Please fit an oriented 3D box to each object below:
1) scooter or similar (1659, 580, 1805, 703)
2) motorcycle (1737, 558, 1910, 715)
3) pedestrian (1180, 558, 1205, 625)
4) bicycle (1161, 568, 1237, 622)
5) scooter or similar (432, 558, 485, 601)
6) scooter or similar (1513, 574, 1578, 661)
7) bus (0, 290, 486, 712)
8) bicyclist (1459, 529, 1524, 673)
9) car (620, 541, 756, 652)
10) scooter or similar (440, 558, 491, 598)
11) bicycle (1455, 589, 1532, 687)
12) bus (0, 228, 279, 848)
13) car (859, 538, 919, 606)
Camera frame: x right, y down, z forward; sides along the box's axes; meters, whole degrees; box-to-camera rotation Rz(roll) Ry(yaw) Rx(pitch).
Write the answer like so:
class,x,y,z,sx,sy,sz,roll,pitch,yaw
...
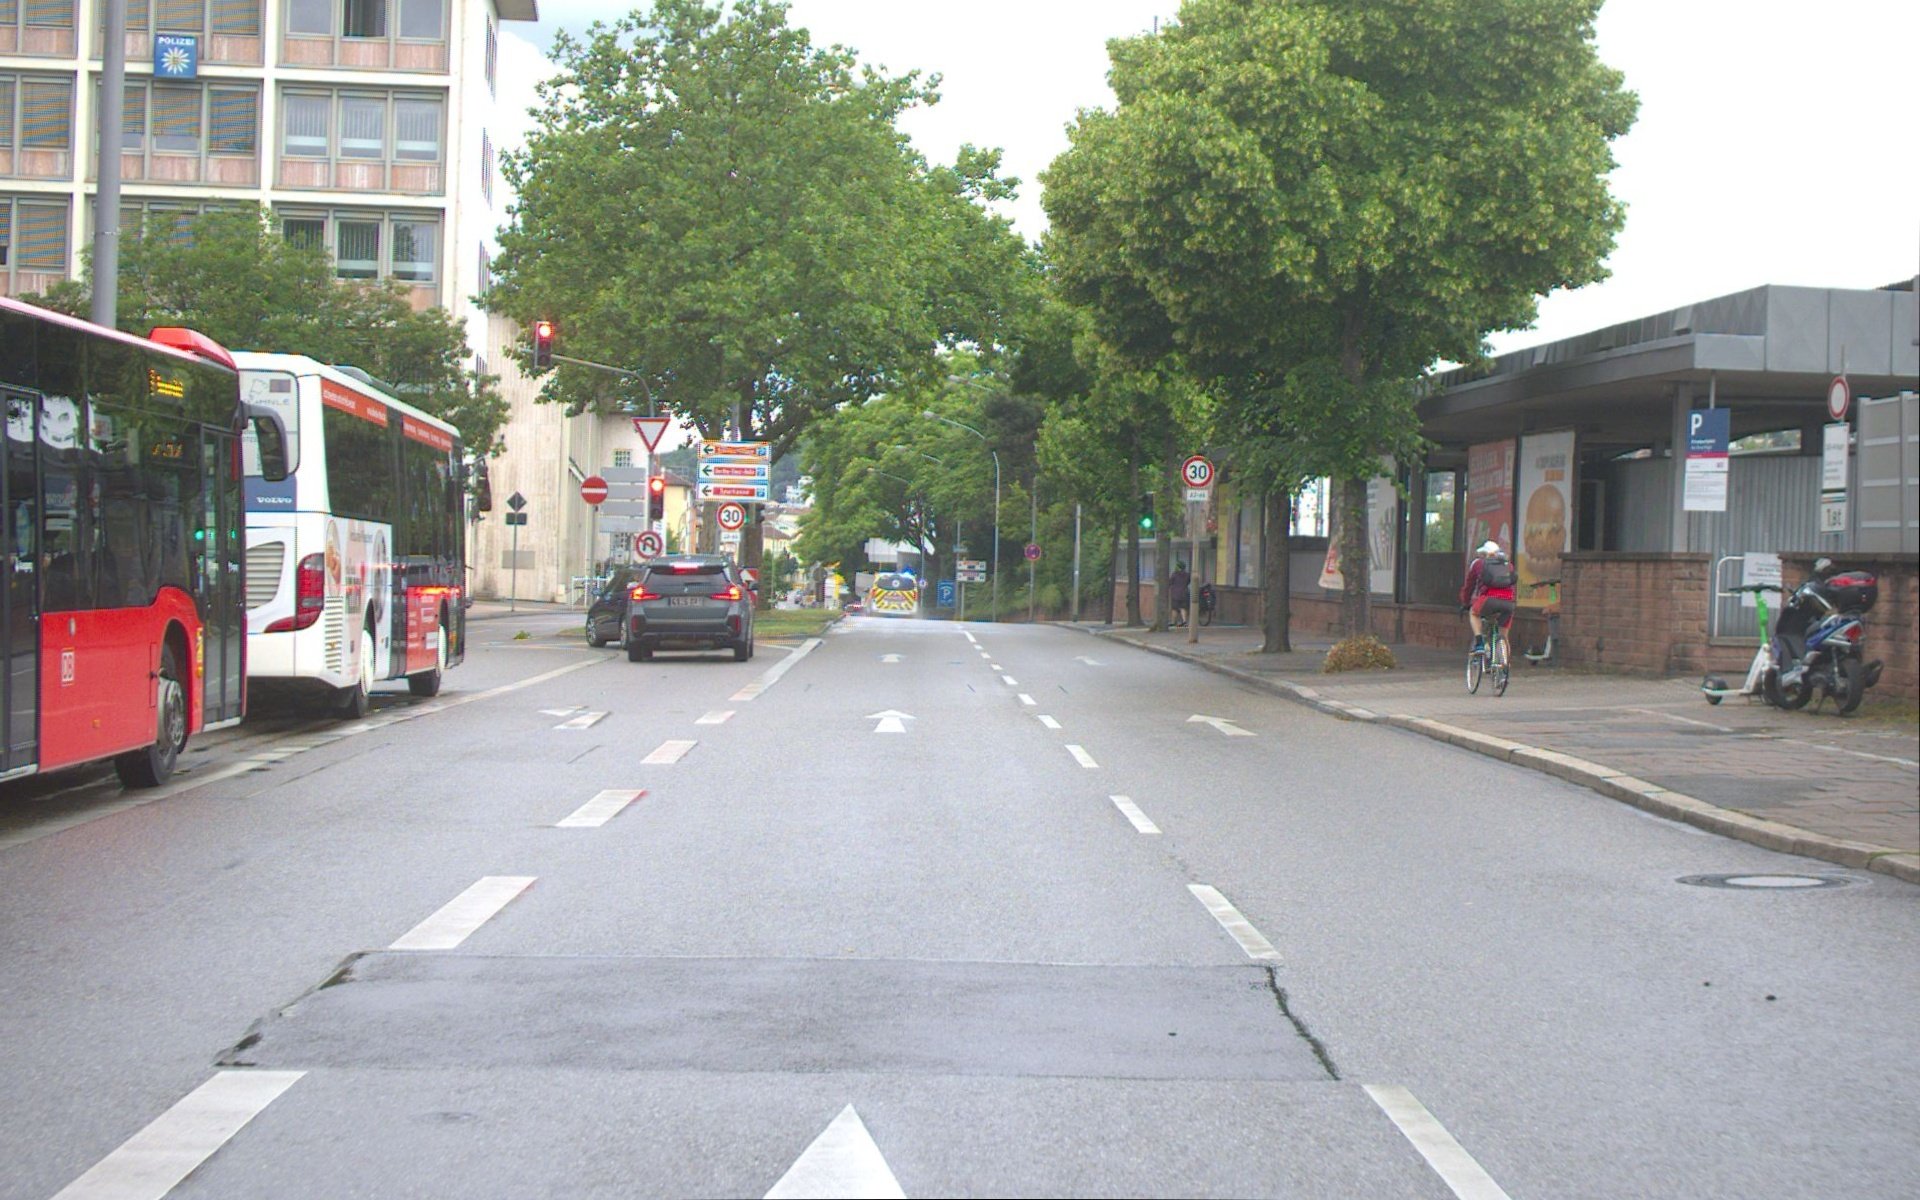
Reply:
class,x,y,z,sx,sy,sz,roll,pitch,yaw
scooter or similar,7.441,0.385,33.201,0.492,1.149,1.716,1,0,-21
motorcycle,7.761,0.302,31.018,0.791,1.343,2.457,1,1,-4
pedestrian,5.379,-0.200,79.579,0.457,1.563,0.392,1,1,31
bicycle,5.563,-0.123,79.987,1.723,1.244,0.485,1,1,30
scooter or similar,-14.100,-0.575,96.671,0.608,1.188,1.525,1,1,32
scooter or similar,7.843,0.224,46.084,0.492,1.149,1.545,1,0,-4
bus,-6.823,-0.895,34.420,2.955,3.428,12.561,1,1,-3
bicyclist,5.745,0.010,37.199,0.533,1.533,0.694,-1,0,-4
car,-4.154,-0.074,53.049,1.964,1.634,4.359,0,0,-3
scooter or similar,-14.289,-0.633,99.307,0.608,1.160,1.525,1,1,32
bicycle,5.766,0.403,37.222,0.446,1.013,1.678,-2,1,-3
bus,-6.306,-0.383,20.991,2.752,3.121,8.844,0,1,-2
car,-2.839,-1.136,136.989,2.264,2.647,4.001,0,1,-3
